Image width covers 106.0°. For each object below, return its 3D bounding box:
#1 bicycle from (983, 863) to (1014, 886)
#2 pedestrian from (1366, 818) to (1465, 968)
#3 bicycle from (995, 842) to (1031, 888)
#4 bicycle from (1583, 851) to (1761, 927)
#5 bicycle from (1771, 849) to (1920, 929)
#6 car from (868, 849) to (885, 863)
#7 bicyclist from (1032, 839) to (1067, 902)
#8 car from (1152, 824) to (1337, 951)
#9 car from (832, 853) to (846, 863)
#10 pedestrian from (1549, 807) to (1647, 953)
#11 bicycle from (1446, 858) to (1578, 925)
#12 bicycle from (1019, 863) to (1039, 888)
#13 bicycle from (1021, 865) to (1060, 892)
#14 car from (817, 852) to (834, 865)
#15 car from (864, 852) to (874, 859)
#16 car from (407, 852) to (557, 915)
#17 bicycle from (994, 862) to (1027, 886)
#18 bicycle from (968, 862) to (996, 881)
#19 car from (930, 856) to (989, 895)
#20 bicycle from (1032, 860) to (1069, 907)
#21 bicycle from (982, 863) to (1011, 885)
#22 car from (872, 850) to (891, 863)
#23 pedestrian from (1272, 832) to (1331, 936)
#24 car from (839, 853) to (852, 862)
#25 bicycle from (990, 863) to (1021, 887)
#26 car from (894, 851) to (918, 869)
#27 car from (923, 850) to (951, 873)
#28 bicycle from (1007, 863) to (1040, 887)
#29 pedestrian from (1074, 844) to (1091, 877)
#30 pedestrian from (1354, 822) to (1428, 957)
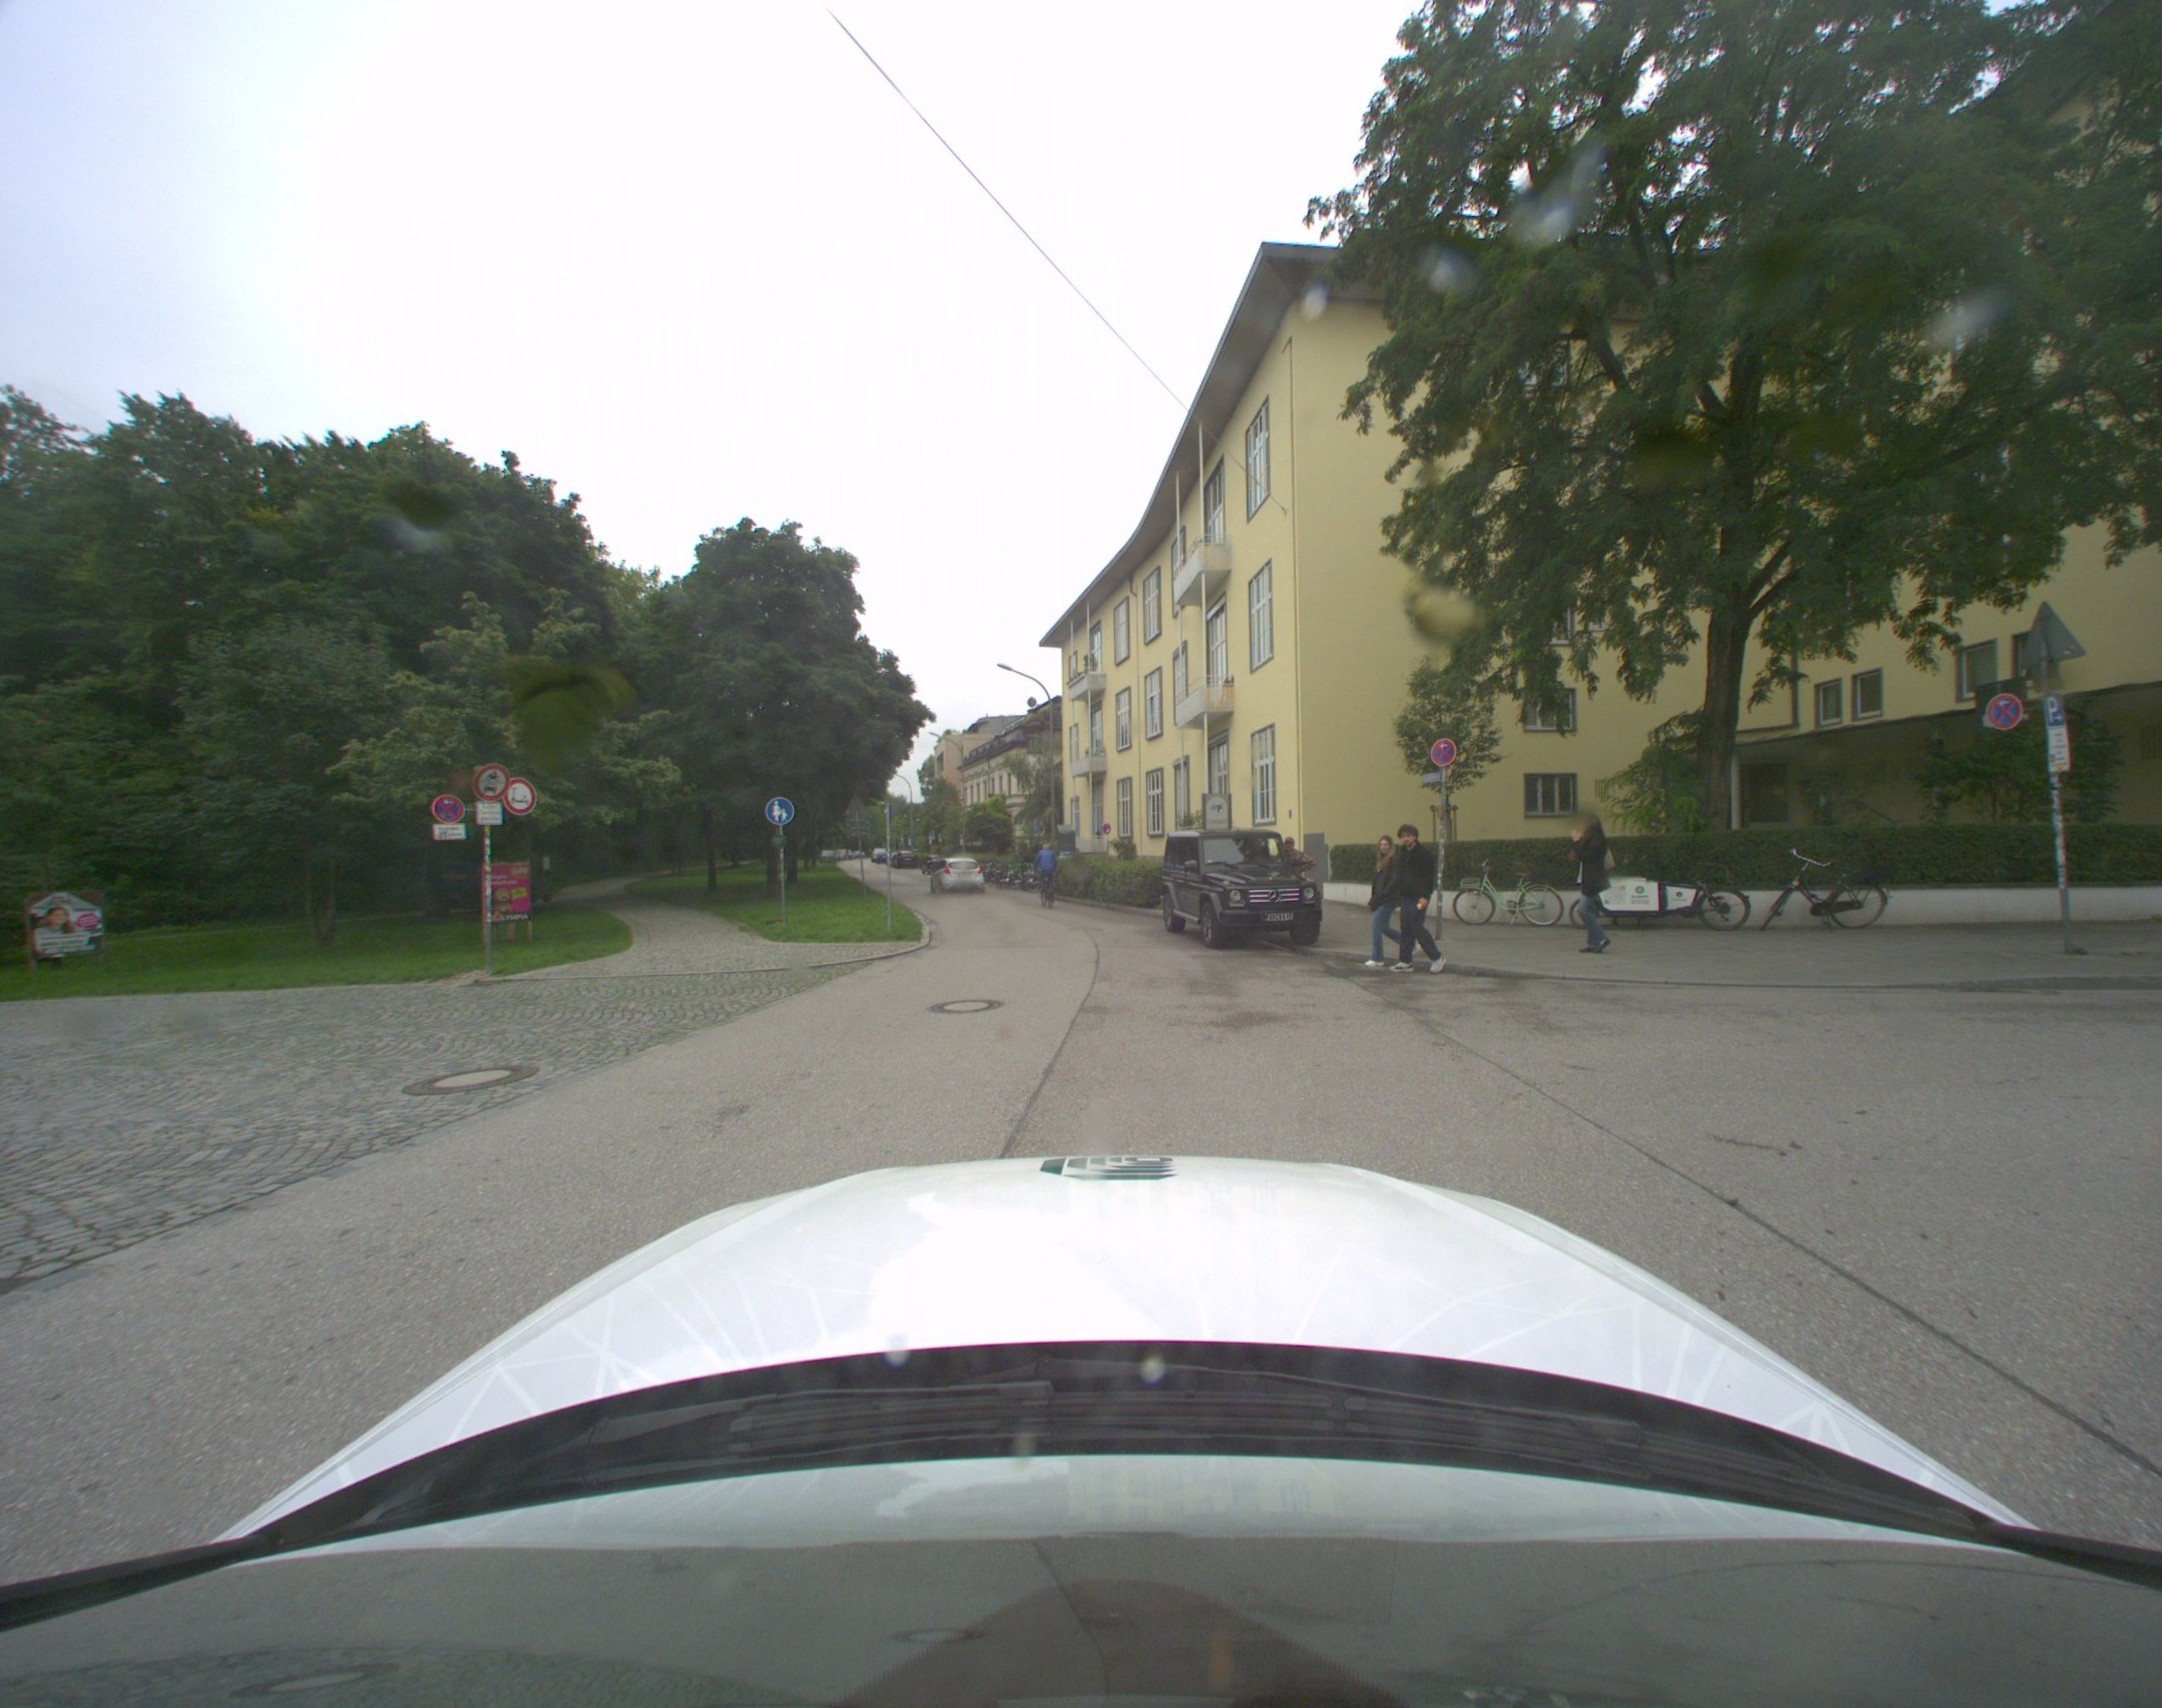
[{"bbox_3d":[-3.889,0.971,38.542,0.404,1.014,1.547,-2,1,42],"label":"bicycle"},{"bbox_3d":[4.177,0.480,10.229,0.984,1.809,0.661,-2,0,8],"label":"pedestrian"},{"bbox_3d":[-3.099,0.502,37.187,1.687,2.013,0.451,-3,1,-44],"label":"bicycle"},{"bbox_3d":[9.175,0.536,12.742,2.149,1.115,0.644,-1,0,22],"label":"bicycle"},{"bbox_3d":[11.275,0.508,12.046,1.674,1.130,0.461,-2,0,5],"label":"bicycle"},{"bbox_3d":[-28.449,0.268,113.248,2.070,1.966,4.951,-2,0,-15],"label":"car"},{"bbox_3d":[-0.926,0.469,23.947,0.913,1.764,1.213,-2,0,-6],"label":"bicyclist"},{"bbox_3d":[2.725,0.490,14.784,1.872,1.887,4.607,-2,0,-7],"label":"car"},{"bbox_3d":[-39.199,0.613,132.095,1.996,1.600,4.446,-2,0,-14],"label":"car"},{"bbox_3d":[6.923,0.344,10.957,0.844,1.857,0.770,-3,0,14],"label":"pedestrian"},{"bbox_3d":[7.450,0.659,14.170,0.532,1.085,1.926,-1,-2,-41],"label":"bicycle"},{"bbox_3d":[-2.288,0.917,35.709,0.363,1.014,1.544,-2,1,14],"label":"bicycle"},{"bbox_3d":[-1.671,1.024,33.877,1.538,1.014,0.365,-3,0,-20],"label":"bicycle"},{"bbox_3d":[-32.152,0.547,102.563,1.999,1.600,4.440,-2,0,-18],"label":"car"},{"bbox_3d":[-49.614,0.401,190.578,1.993,1.600,4.453,-2,0,-10],"label":"car"},{"bbox_3d":[-21.680,1.007,29.610,1.764,2.013,4.026,-2,0,37],"label":"car"},{"bbox_3d":[-3.252,0.933,37.735,1.546,1.014,0.404,-3,1,-44],"label":"bicycle"},{"bbox_3d":[-5.641,0.979,46.425,1.544,1.014,0.405,-3,1,-35],"label":"bicycle"},{"bbox_3d":[-4.885,0.812,32.357,1.752,1.406,3.705,-2,0,-18],"label":"car"},{"bbox_3d":[-0.925,0.830,23.969,0.920,1.252,2.317,-2,0,-6],"label":"bicycle"},{"bbox_3d":[-4.177,0.968,40.354,0.404,1.014,1.547,-2,1,42],"label":"bicycle"},{"bbox_3d":[-25.555,0.352,104.290,2.000,1.600,4.227,-2,0,-19],"label":"car"},{"bbox_3d":[3.875,0.509,14.373,0.843,1.757,0.956,-2,0,8],"label":"pedestrian"},{"bbox_3d":[-42.577,0.577,147.191,1.996,1.600,4.446,-2,0,-14],"label":"car"},{"bbox_3d":[-3.529,0.986,38.197,0.404,1.014,1.547,-2,1,42],"label":"bicycle"},{"bbox_3d":[-16.999,0.545,78.896,1.798,1.680,3.974,-2,0,-19],"label":"car"},{"bbox_3d":[-10.707,0.541,60.341,1.650,1.558,3.540,-2,0,-16],"label":"car"},{"bbox_3d":[-2.601,0.941,36.817,1.545,1.014,0.363,-3,1,-39],"label":"bicycle"},{"bbox_3d":[0.085,0.344,43.072,0.632,1.684,0.694,-2,0,-16],"label":"pedestrian"},{"bbox_3d":[4.164,0.467,10.994,0.820,1.746,0.743,-2,0,14],"label":"pedestrian"}]
